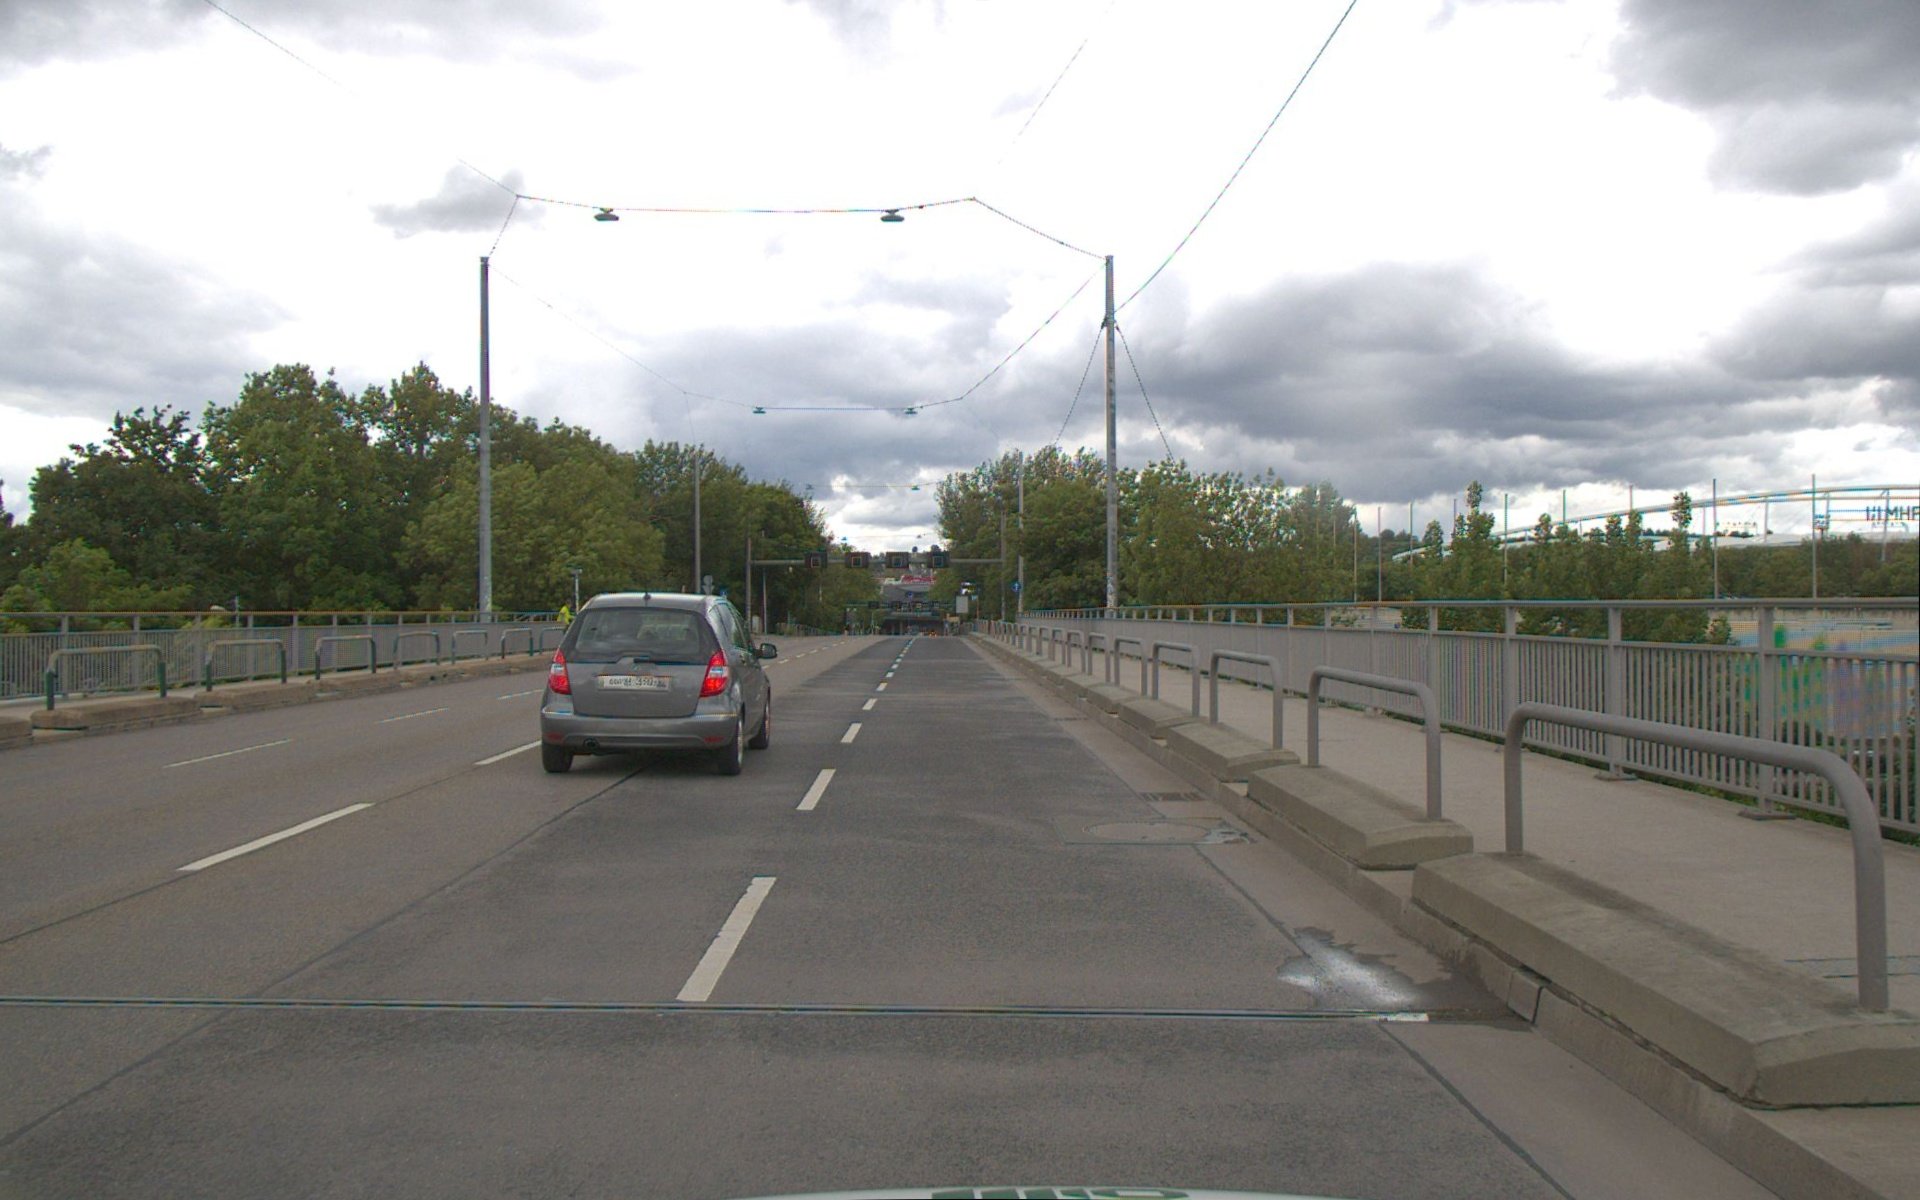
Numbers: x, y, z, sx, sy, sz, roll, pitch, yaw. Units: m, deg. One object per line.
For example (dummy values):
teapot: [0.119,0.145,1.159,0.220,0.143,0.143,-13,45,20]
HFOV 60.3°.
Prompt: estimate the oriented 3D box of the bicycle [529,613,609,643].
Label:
bicycle: [-14.150,1.022,59.888,2.737,1.069,0.919,0,-1,-6]

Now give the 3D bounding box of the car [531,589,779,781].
car: [-2.742,0.699,15.665,1.710,1.577,3.870,0,0,-2]

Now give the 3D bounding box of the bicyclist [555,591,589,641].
bicyclist: [-14.051,0.573,59.899,1.110,1.795,0.904,0,-1,-6]
